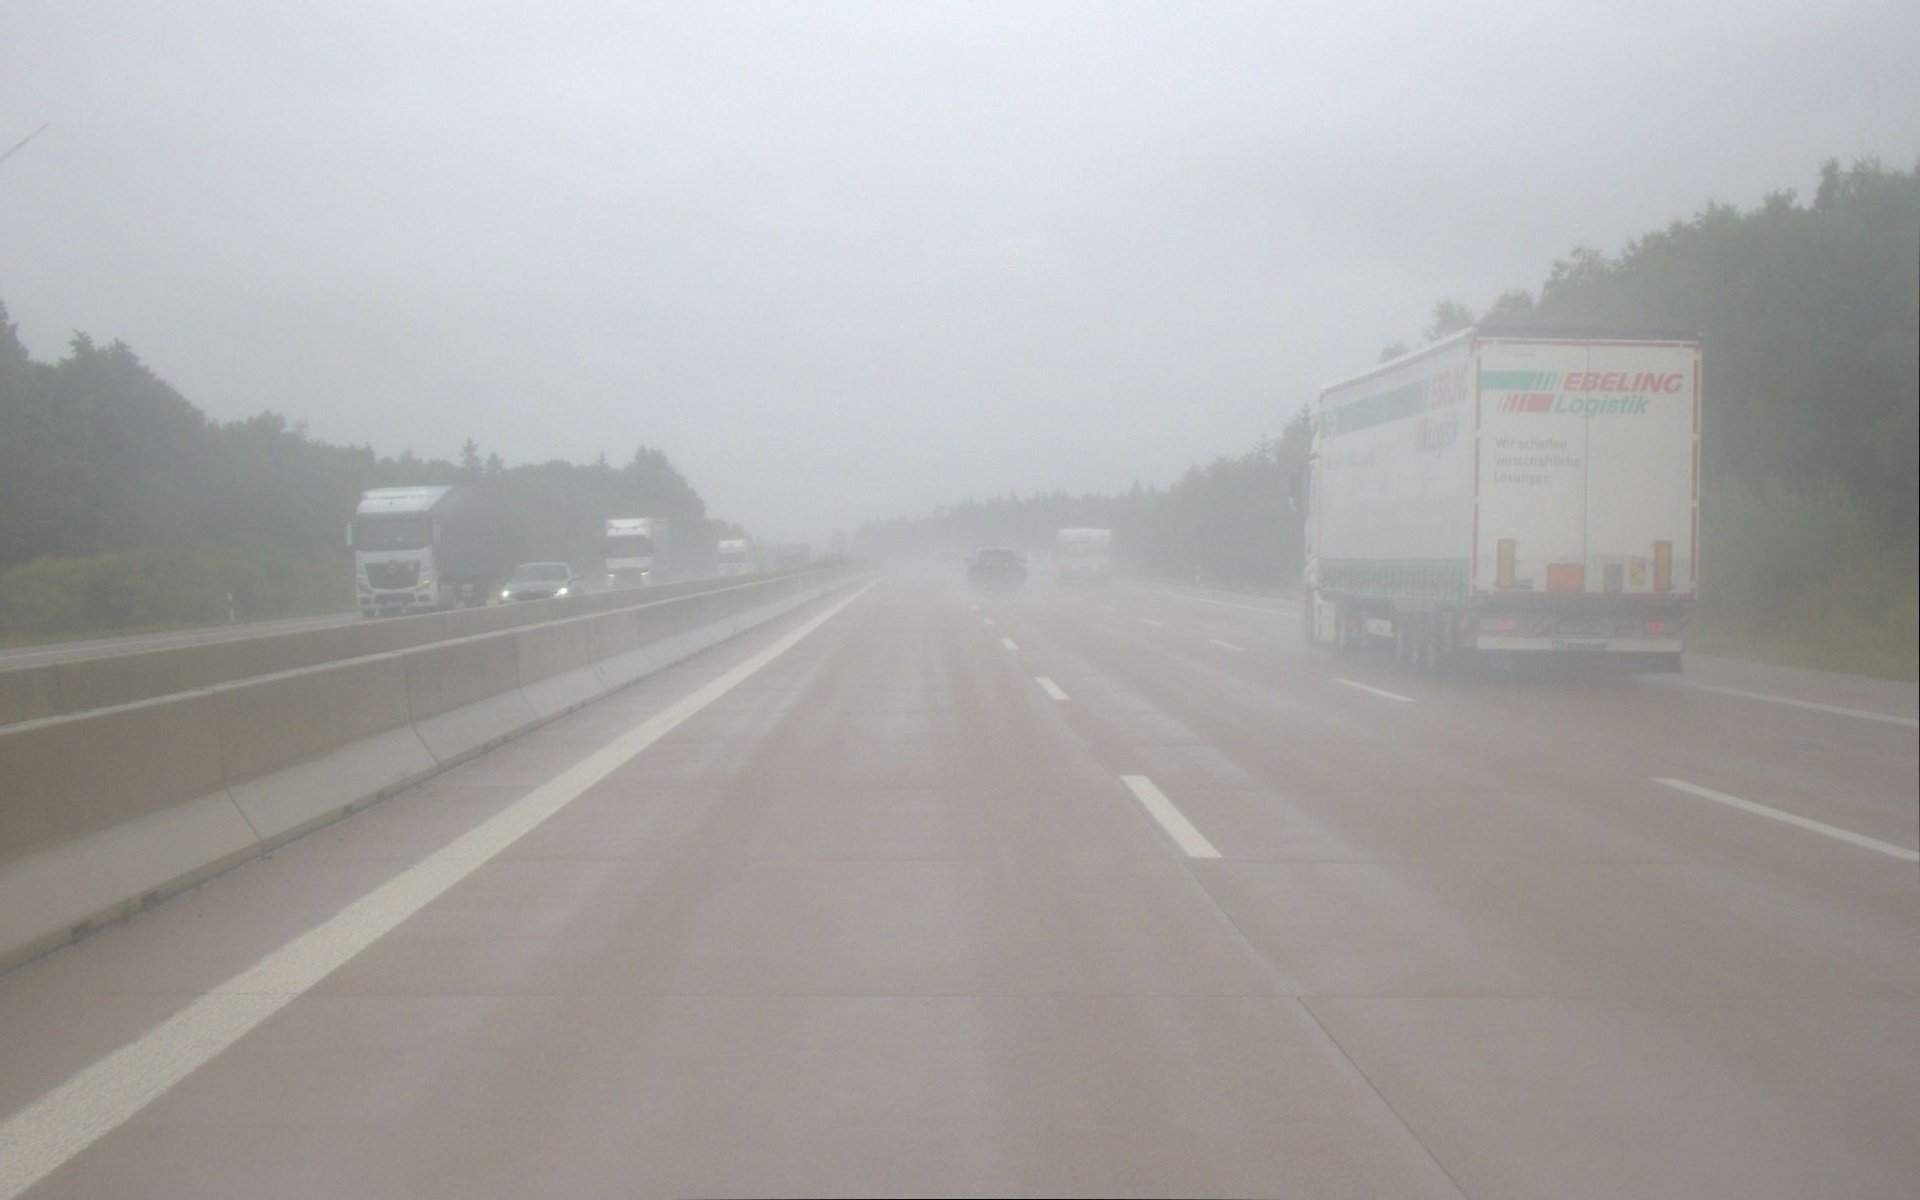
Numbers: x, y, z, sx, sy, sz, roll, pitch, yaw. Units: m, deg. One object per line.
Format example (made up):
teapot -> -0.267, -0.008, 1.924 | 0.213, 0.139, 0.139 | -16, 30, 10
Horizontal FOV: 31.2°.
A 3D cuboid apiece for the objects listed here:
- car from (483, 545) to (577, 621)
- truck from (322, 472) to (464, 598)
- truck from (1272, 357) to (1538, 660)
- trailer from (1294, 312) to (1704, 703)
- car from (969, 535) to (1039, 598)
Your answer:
car -> -10.595, -0.442, 84.905 | 1.788, 1.790, 3.877 | -2, 1, 0
truck -> -18.208, -2.068, 110.929 | 3.472, 3.875, 7.464 | 1, 0, -1
truck -> 6.423, -1.337, 50.552 | 2.880, 4.092, 6.350 | -2, 1, -1
trailer -> 6.563, -1.181, 44.302 | 2.852, 4.217, 13.133 | -2, 1, -1
car -> 1.441, -1.117, 113.179 | 2.173, 1.974, 4.130 | -2, 1, 0
